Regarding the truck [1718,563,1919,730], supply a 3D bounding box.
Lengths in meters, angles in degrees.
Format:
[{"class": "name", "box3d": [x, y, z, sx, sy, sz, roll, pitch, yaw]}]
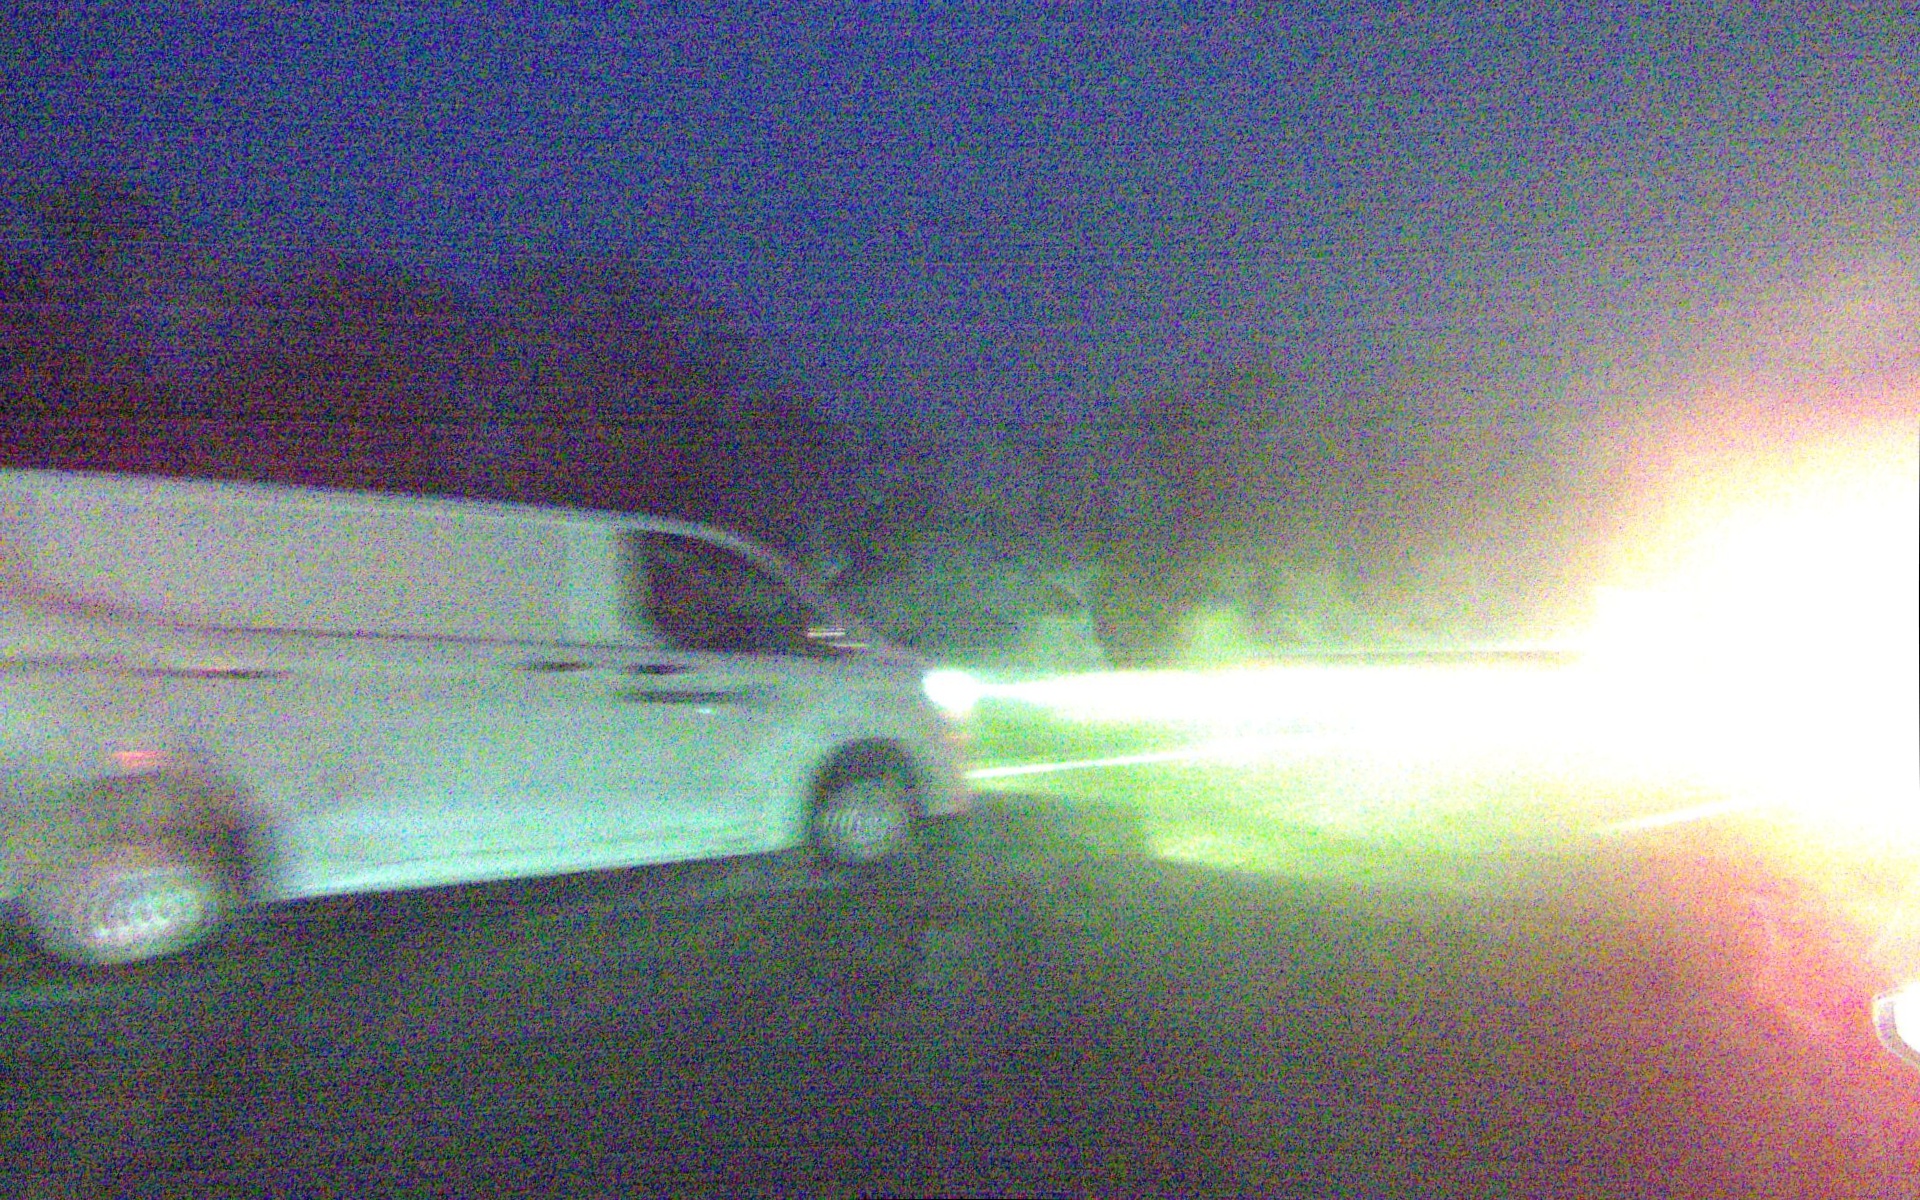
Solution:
[{"class": "truck", "box3d": [14.722, 0.690, 15.755, 5.799, 2.230, 2.839, 2, 0, -35]}]

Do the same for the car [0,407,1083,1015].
[{"class": "car", "box3d": [-2.182, 0.428, 5.491, 5.565, 2.132, 2.112, 1, 0, -32]}]
